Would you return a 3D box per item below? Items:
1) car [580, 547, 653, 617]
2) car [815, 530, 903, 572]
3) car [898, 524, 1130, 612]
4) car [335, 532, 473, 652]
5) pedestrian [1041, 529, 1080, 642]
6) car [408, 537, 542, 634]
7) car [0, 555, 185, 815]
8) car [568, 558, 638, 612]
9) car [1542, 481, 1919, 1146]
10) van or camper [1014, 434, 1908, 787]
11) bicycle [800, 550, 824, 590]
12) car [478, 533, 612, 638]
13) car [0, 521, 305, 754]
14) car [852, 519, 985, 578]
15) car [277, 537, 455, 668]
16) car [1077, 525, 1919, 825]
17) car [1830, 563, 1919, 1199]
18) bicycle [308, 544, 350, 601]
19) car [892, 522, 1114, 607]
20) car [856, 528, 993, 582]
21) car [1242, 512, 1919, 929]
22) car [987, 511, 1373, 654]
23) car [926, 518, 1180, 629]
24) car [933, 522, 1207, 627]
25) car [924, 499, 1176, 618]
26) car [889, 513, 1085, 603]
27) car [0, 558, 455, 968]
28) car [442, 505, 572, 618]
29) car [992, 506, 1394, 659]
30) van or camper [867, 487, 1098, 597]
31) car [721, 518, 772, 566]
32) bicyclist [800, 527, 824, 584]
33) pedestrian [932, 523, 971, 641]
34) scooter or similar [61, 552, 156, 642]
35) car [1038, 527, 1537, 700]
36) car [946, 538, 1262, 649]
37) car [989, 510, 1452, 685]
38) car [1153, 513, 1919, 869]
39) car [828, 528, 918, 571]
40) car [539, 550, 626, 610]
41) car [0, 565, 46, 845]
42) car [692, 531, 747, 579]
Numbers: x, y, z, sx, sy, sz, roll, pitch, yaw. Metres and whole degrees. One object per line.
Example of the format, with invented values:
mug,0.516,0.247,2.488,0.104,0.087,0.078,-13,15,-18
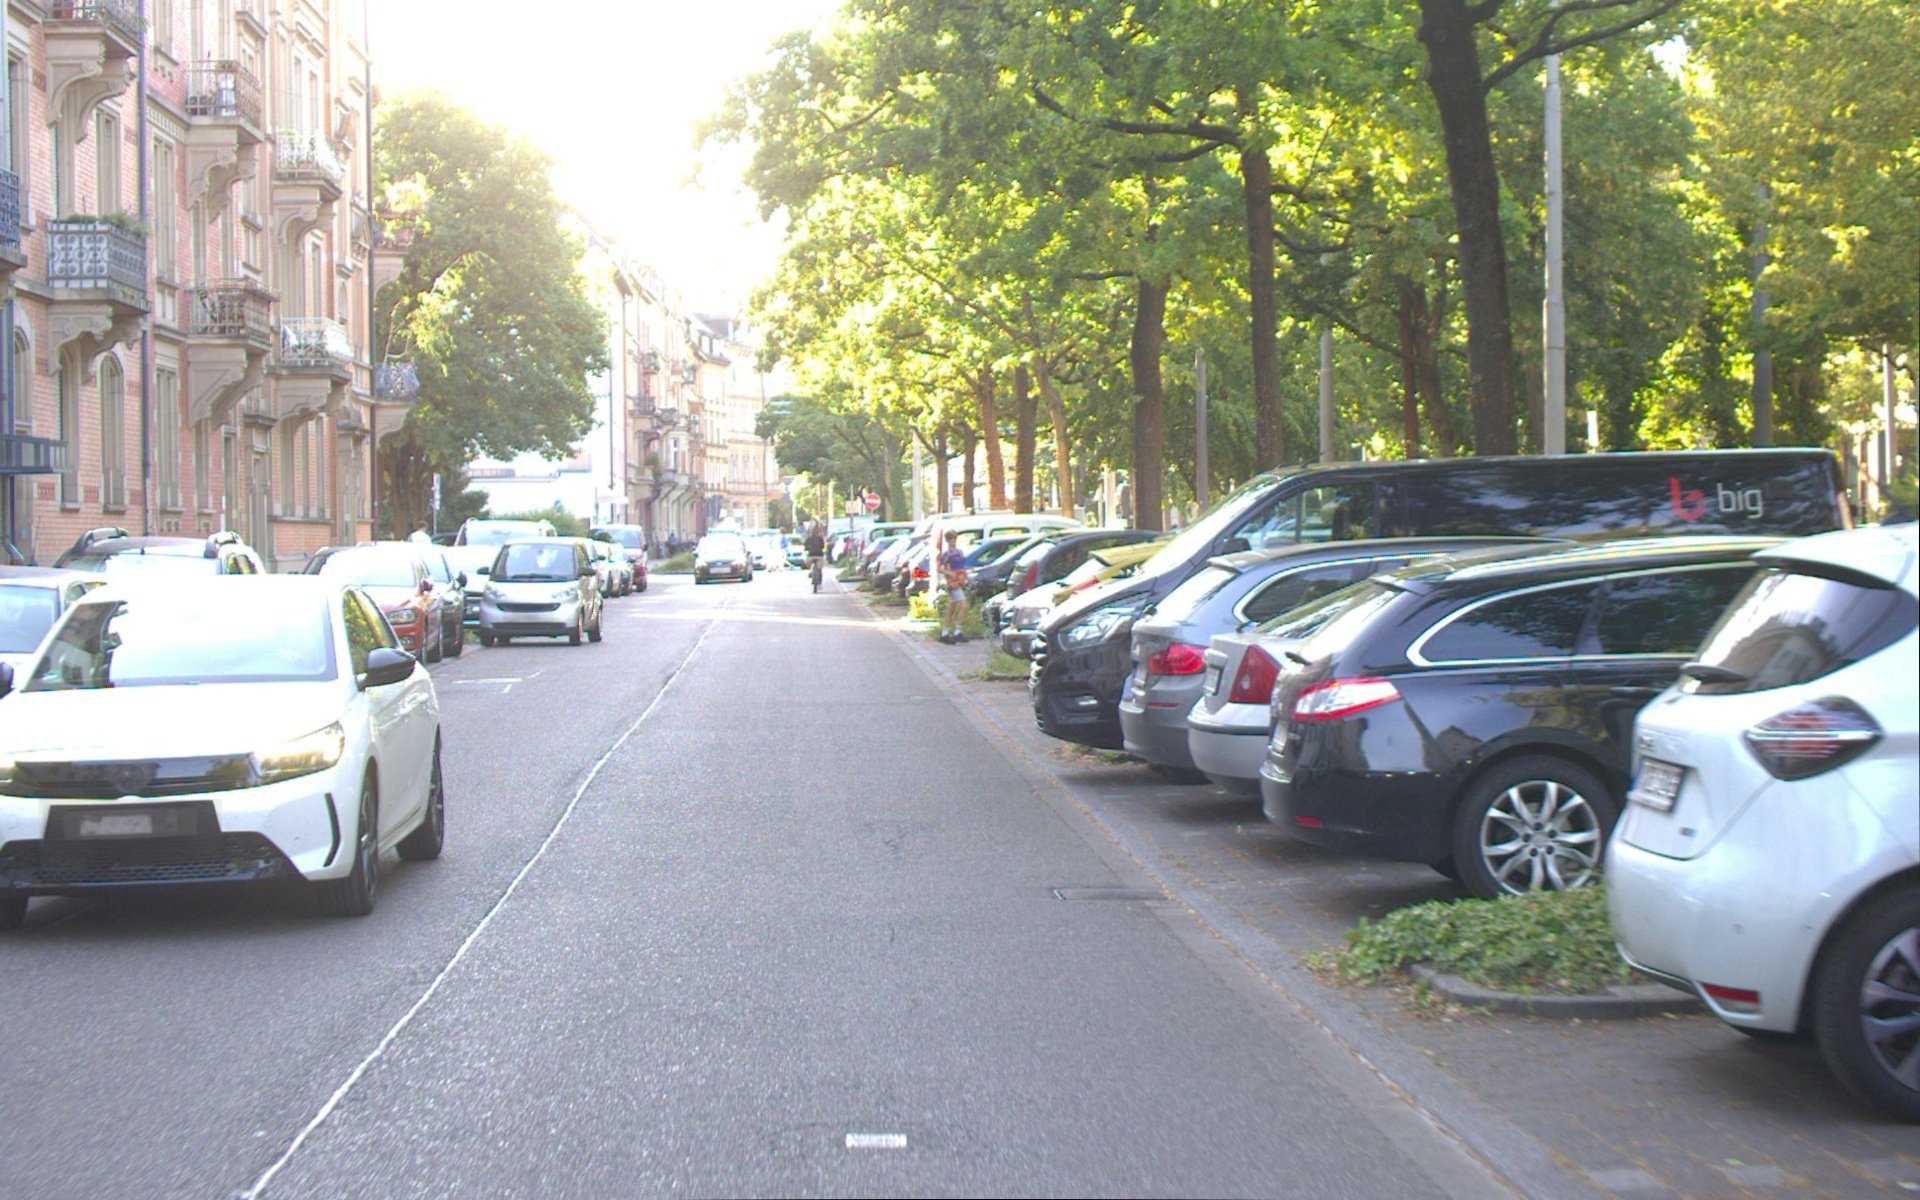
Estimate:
car,-10.224,-0.567,102.578,1.957,2.011,4.268,0,1,-3
car,-4.922,-2.386,167.833,3.988,2.007,1.999,0,-1,9
car,1.008,-0.610,64.152,4.220,1.448,1.649,-2,1,2
car,-7.521,-0.134,46.583,1.746,1.541,4.153,1,1,-9
pedestrian,1.362,-0.199,46.531,0.380,1.511,0.518,0,3,17
car,-7.851,-0.273,55.919,1.674,1.449,4.210,-2,1,-2
car,-6.193,0.462,21.898,1.615,1.447,4.000,1,1,0
car,-10.063,-0.440,97.045,1.756,1.461,4.268,0,1,-3
car,3.669,0.492,9.447,3.782,1.640,1.664,-2,0,-2
van or camper,3.100,0.036,22.158,5.414,2.020,2.030,-2,2,0
bicycle,-4.144,-0.829,96.160,0.641,1.096,1.944,0,-1,-4
car,-6.070,-0.233,50.458,1.504,1.430,2.753,-2,1,2
car,-6.348,0.233,27.180,1.751,1.700,4.201,0,1,-3
car,-1.308,-1.590,106.904,3.986,1.788,1.859,0,-1,-5
car,-7.190,-0.005,41.912,1.753,1.459,4.001,2,1,-5
car,2.986,0.405,19.562,4.398,1.496,1.838,-2,0,-5
car,3.878,0.605,6.931,3.782,1.468,1.664,-2,0,0
bicycle,-13.035,-0.561,71.084,0.704,1.143,1.890,0,-1,-6
car,0.810,-0.702,67.041,4.219,1.448,1.865,-2,1,-1
car,-1.087,-1.351,104.241,3.986,1.558,1.859,0,-1,-5
car,3.432,0.454,14.280,4.399,1.572,1.664,-2,0,3
car,2.646,-0.224,41.961,4.398,1.585,1.838,-2,0,-7
car,1.364,-0.411,51.683,3.674,1.496,1.762,-2,1,-1
car,1.708,-0.413,54.121,4.080,1.437,1.762,-3,1,-5
car,1.532,-0.727,59.648,4.219,1.857,1.762,-2,1,-1
car,0.541,-0.888,72.109,3.987,1.685,1.859,-2,1,-1
car,-3.368,0.623,15.463,1.668,1.426,4.001,-3,2,-2
car,-8.085,-0.654,61.700,1.993,1.914,5.040,0,-1,-4
car,2.615,-0.204,39.356,4.399,1.585,1.838,-2,0,-2
van or camper,0.463,-1.276,76.666,4.981,2.369,2.185,0,-1,-4
car,-8.622,-2.330,138.557,1.993,1.831,4.000,0,-1,-4
bicyclist,-4.143,-1.238,96.197,0.627,1.568,0.802,0,-1,-4
pedestrian,-0.119,-0.252,46.977,0.380,1.579,0.518,0,3,17
scooter or similar,-11.877,-0.030,48.031,0.783,1.218,2.704,0,-1,-3
car,2.968,0.109,31.833,4.399,1.435,1.838,-2,0,0
car,1.804,-0.098,43.850,3.842,1.274,1.691,-2,1,-3
car,2.567,-0.034,34.576,4.399,1.585,1.838,-2,0,-3
car,3.221,0.417,16.943,4.399,1.572,1.664,-2,0,0
car,-4.160,-2.413,164.328,3.988,2.007,1.999,0,-1,9
car,-9.688,-0.537,88.391,1.756,1.461,4.268,0,1,0
car,-5.825,0.553,16.786,1.668,1.466,4.284,2,1,-2
car,-7.740,-1.470,110.695,1.668,1.459,4.001,-2,1,-4
